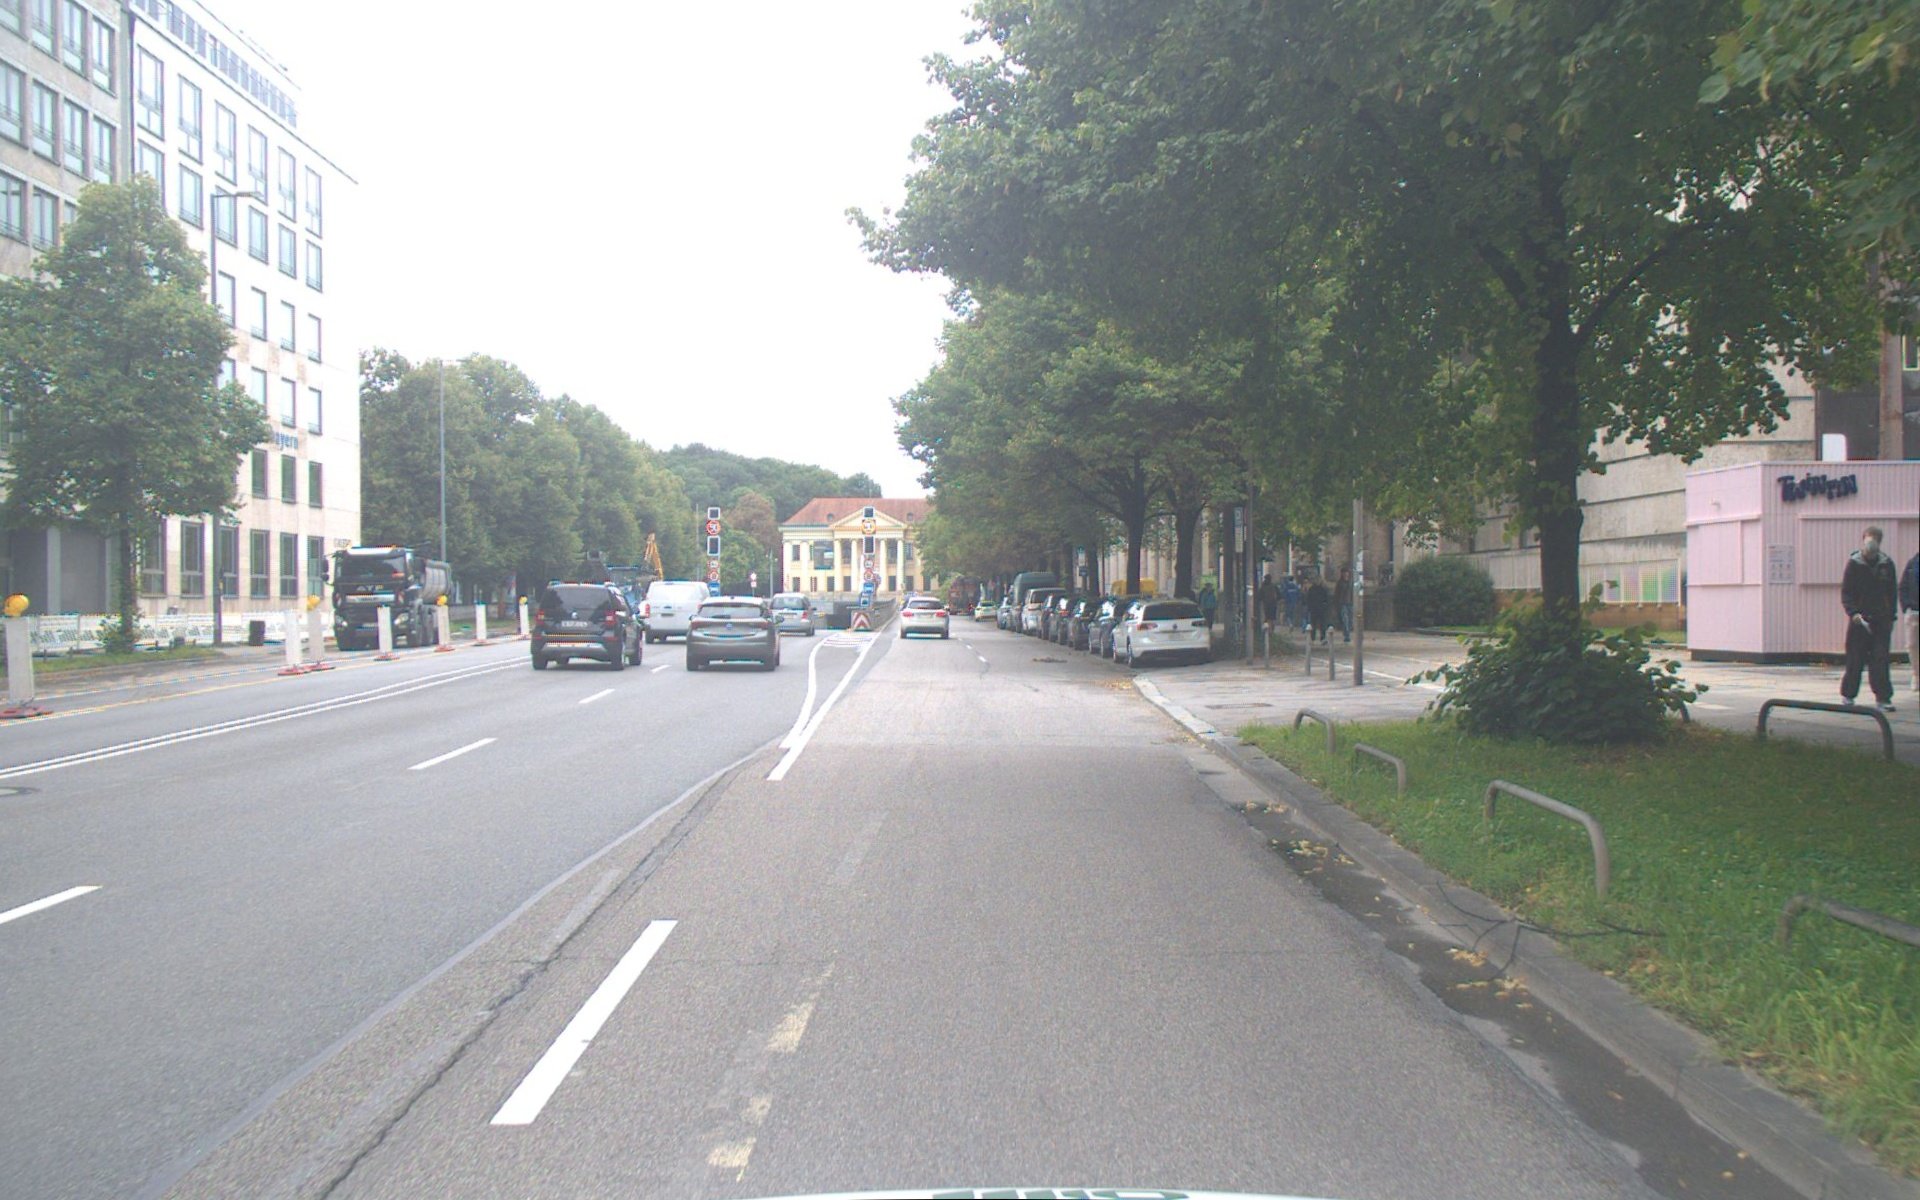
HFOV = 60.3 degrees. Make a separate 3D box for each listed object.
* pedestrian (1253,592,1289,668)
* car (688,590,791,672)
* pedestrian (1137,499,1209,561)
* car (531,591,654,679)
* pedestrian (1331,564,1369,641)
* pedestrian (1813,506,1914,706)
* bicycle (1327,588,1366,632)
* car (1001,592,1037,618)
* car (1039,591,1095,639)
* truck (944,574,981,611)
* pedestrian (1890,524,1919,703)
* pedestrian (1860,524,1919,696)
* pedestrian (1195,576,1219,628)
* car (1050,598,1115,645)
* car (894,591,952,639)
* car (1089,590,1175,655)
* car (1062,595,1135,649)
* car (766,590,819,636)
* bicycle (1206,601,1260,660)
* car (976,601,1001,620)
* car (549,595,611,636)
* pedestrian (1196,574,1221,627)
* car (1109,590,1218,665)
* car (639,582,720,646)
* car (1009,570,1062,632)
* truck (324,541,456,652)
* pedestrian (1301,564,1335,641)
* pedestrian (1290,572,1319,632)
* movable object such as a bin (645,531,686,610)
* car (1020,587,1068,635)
[{"bbox_3d":[8.111,0.774,43.109,0.763,1.943,0.770,1,0,-1],"label":"pedestrian"},{"bbox_3d":[-4.485,0.602,34.123,1.675,1.579,3.999,1,0,-2],"label":"car"},{"bbox_3d":[7.630,-2.470,59.619,1.953,2.049,3.999,1,0,-2],"label":"pedestrian"},{"bbox_3d":[-7.374,0.672,33.562,1.688,1.665,4.203,-1,0,-2],"label":"car"},{"bbox_3d":[9.978,0.066,42.323,0.748,1.943,0.770,1,0,-1],"label":"pedestrian"},{"bbox_3d":[9.520,0.061,17.444,0.582,2.049,0.724,-2,0,-1],"label":"pedestrian"},{"bbox_3d":[12.801,0.320,54.878,0.685,1.440,2.298,-1,0,-1],"label":"bicycle"},{"bbox_3d":[3.080,0.260,87.558,1.689,1.347,4.027,-1,0,-1],"label":"car"},{"bbox_3d":[3.899,0.525,61.028,1.689,1.694,4.588,-1,0,-1],"label":"car"},{"bbox_3d":[0.219,-0.711,159.622,3.258,3.426,8.660,1,0,-1],"label":"truck"},{"bbox_3d":[10.181,0.129,17.099,0.587,1.840,0.718,-2,0,-26],"label":"pedestrian"},{"bbox_3d":[10.435,0.101,18.154,0.587,1.840,0.718,-2,0,-26],"label":"pedestrian"},{"bbox_3d":[9.196,0.071,61.631,0.763,1.943,0.770,1,0,-1],"label":"pedestrian"},{"bbox_3d":[4.038,0.682,55.124,1.785,1.490,4.027,-1,0,-1],"label":"car"},{"bbox_3d":[-1.385,0.536,60.493,1.745,1.673,3.994,1,0,-7],"label":"car"},{"bbox_3d":[4.451,0.558,43.424,1.689,1.577,4.584,-1,0,-1],"label":"car"},{"bbox_3d":[4.105,0.622,49.551,1.689,1.490,4.775,-1,0,-1],"label":"car"},{"bbox_3d":[-6.323,0.466,62.696,1.743,1.683,3.998,1,0,-2],"label":"car"},{"bbox_3d":[6.053,0.653,36.859,0.616,1.252,2.617,1,0,-3],"label":"bicycle"},{"bbox_3d":[2.064,0.771,122.361,1.689,1.347,4.027,-1,0,-1],"label":"car"},{"bbox_3d":[-15.944,0.638,69.535,1.954,1.624,3.996,-1,0,-5],"label":"car"},{"bbox_3d":[9.128,0.022,60.787,0.763,1.943,0.770,1,0,-1],"label":"pedestrian"},{"bbox_3d":[4.541,0.580,37.581,1.790,1.577,4.750,-1,0,-1],"label":"car"},{"bbox_3d":[-8.739,0.418,51.875,1.860,1.880,4.953,-1,0,-2],"label":"car"},{"bbox_3d":[3.407,0.046,75.569,1.954,2.689,4.875,1,0,-3],"label":"car"},{"bbox_3d":[-19.059,-0.112,55.851,2.789,3.415,8.744,1,0,-10],"label":"truck"},{"bbox_3d":[9.167,0.070,42.375,0.685,1.943,0.770,1,0,-1],"label":"pedestrian"},{"bbox_3d":[11.310,0.070,54.366,0.763,1.943,0.770,1,0,-1],"label":"pedestrian"},{"bbox_3d":[-25.213,-2.470,141.728,2.645,6.624,5.174,1,0,-2],"label":"movable object such as a bin"},{"bbox_3d":[3.456,0.454,68.455,1.689,1.900,4.027,-1,0,-1],"label":"car"}]
